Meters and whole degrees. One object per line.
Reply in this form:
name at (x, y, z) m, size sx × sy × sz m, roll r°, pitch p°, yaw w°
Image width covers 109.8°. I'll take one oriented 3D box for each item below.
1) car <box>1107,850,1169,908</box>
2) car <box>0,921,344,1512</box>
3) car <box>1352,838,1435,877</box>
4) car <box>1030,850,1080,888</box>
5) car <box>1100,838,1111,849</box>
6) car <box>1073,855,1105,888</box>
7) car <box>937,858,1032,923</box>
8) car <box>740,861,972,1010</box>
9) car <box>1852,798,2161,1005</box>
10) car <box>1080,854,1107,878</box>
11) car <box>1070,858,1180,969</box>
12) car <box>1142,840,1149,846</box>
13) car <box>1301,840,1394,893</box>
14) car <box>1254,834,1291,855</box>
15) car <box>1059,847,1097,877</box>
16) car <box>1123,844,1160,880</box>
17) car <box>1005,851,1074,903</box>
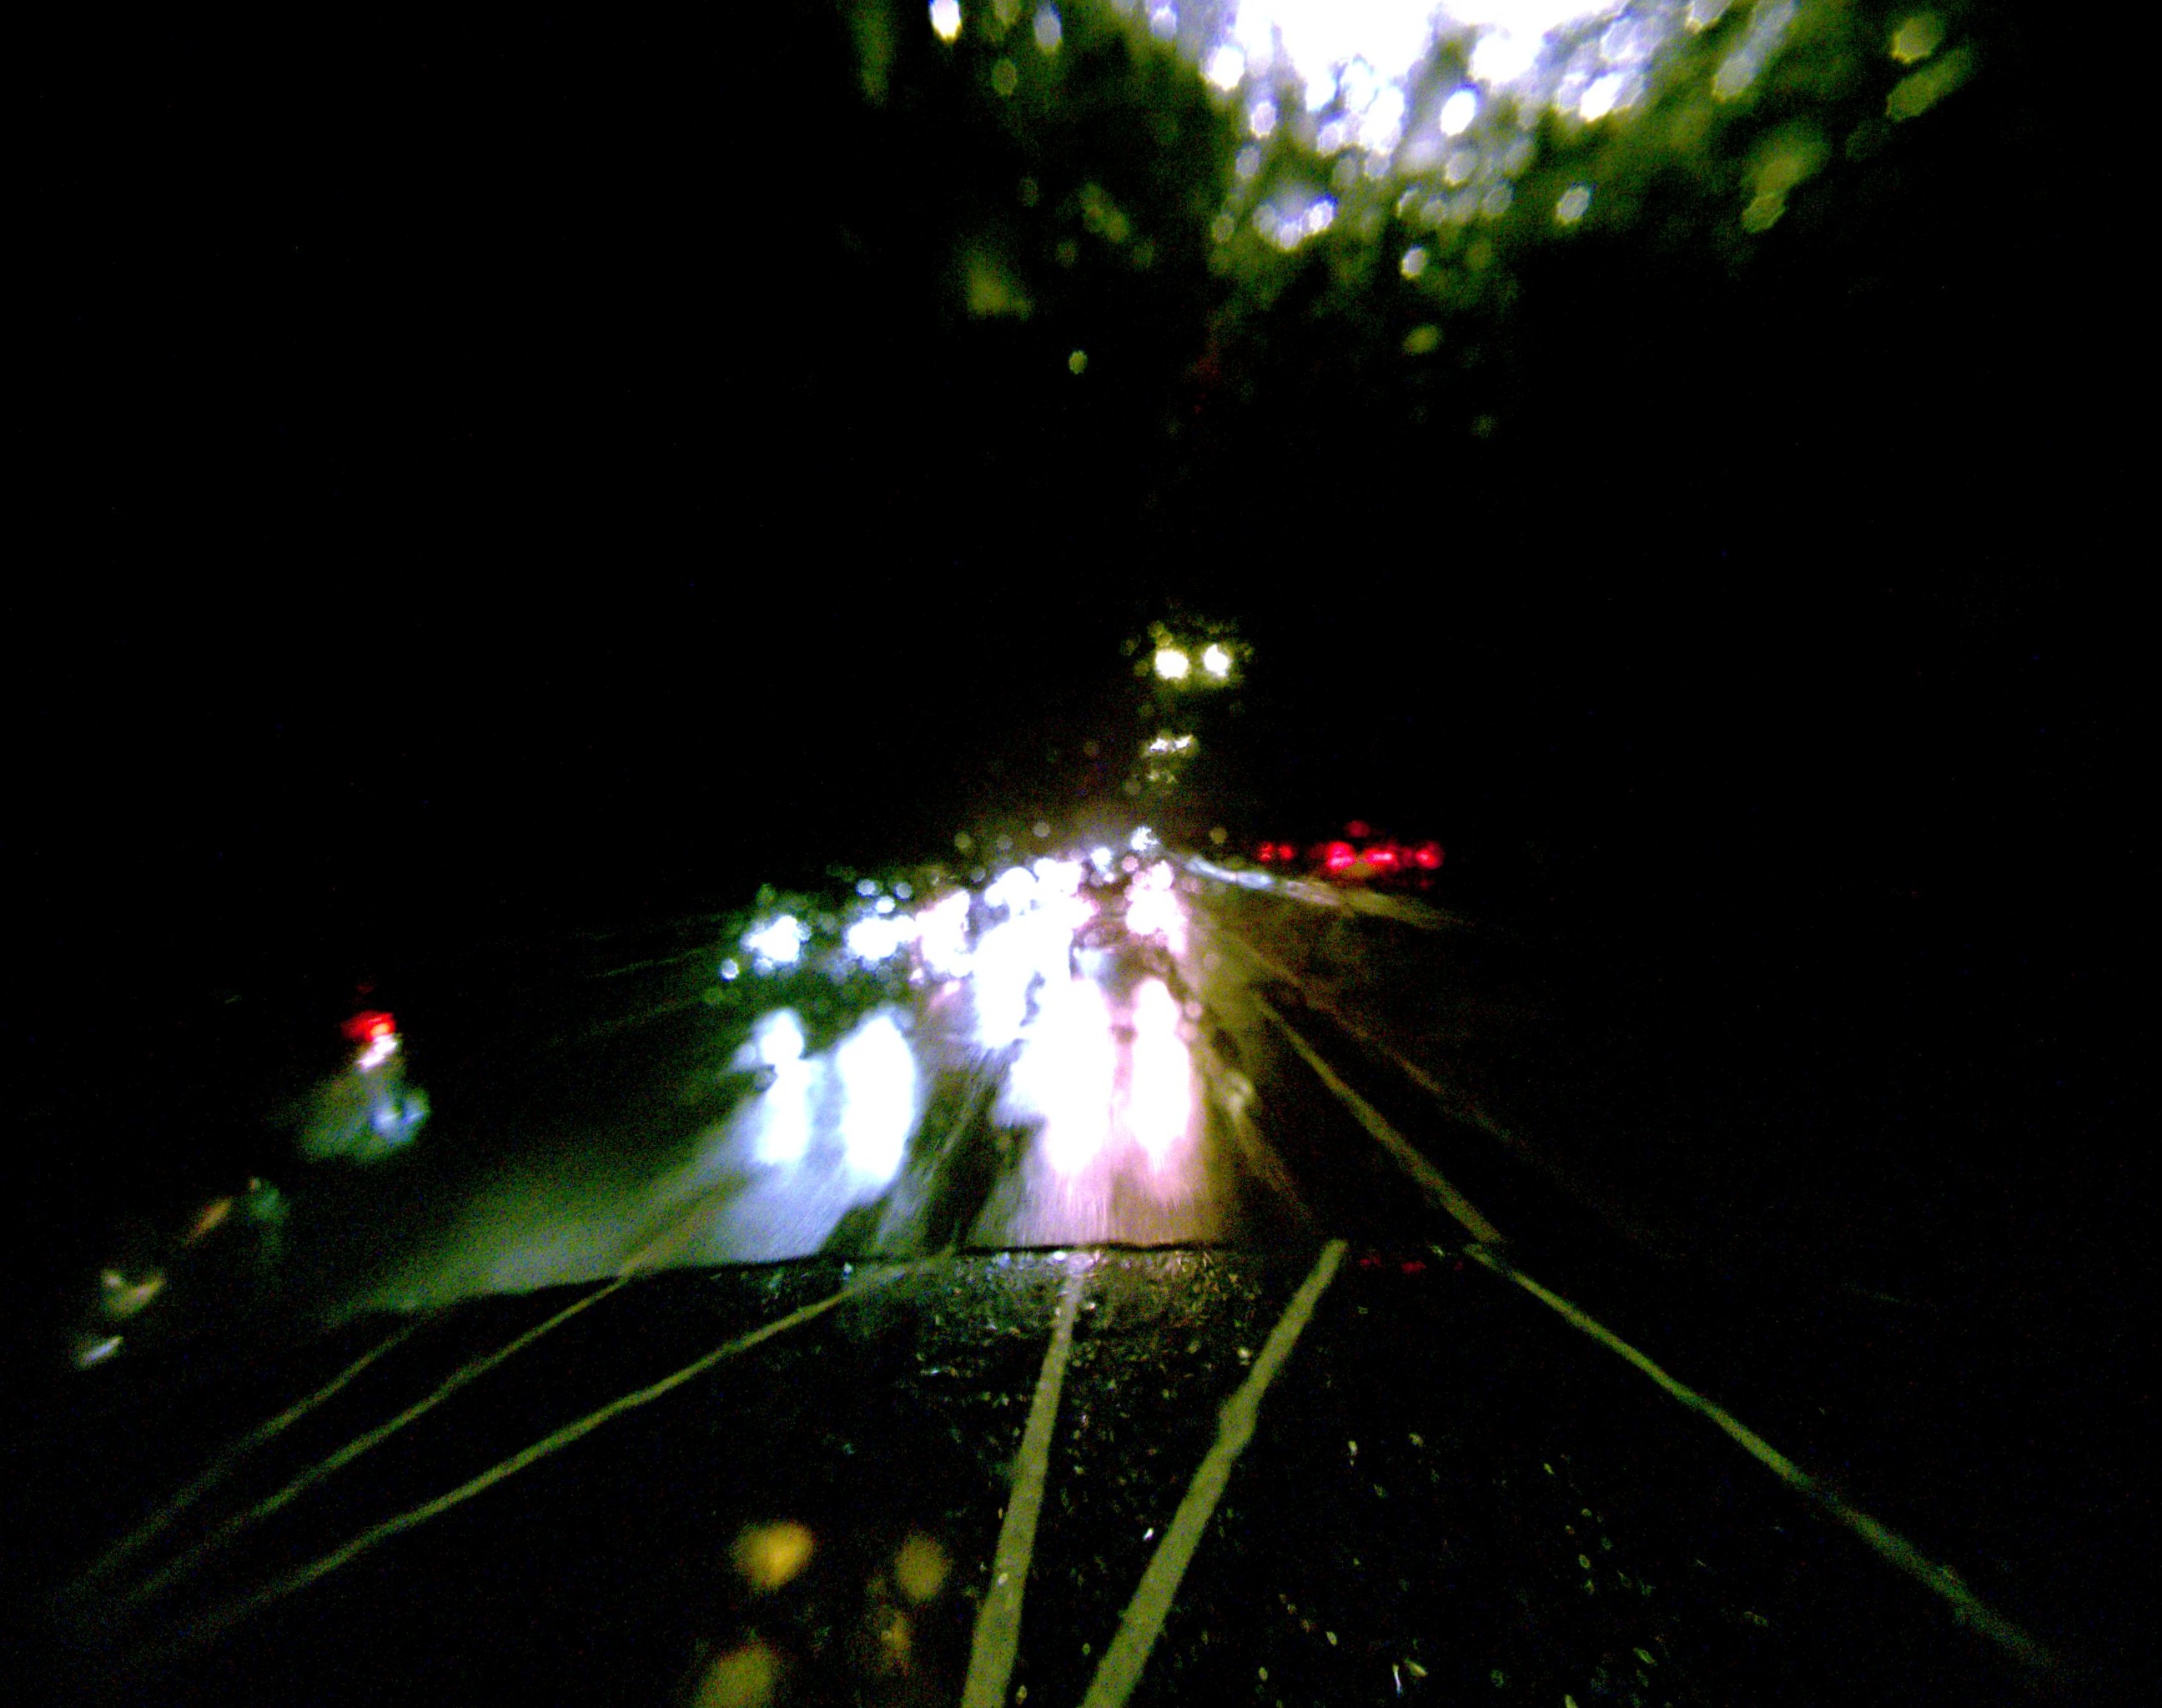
car at (1.642, 0.682, 22.474) m, size 1.605 × 1.417 × 3.389 m, roll -5°, pitch 1°, yaw 3°
car at (-3.861, 1.117, 0.685) m, size 1.677 × 1.498 × 4.559 m, roll -4°, pitch 1°, yaw 3°
car at (12.919, 0.083, 31.737) m, size 1.715 × 1.415 × 4.667 m, roll -2°, pitch 1°, yaw 3°
car at (-1.170, 0.663, 36.087) m, size 1.998 × 1.589 × 4.392 m, roll -2°, pitch 1°, yaw 3°
car at (4.714, -1.960, 143.863) m, size 1.998 × 2.002 × 4.000 m, roll -2°, pitch 1°, yaw 2°
car at (0.630, 1.191, 53.501) m, size 1.998 × 2.002 × 4.000 m, roll -3°, pitch 1°, yaw 3°
car at (-2.514, 0.911, 20.833) m, size 1.742 × 1.409 × 4.140 m, roll -3°, pitch 1°, yaw 4°
car at (-2.913, 0.968, 10.963) m, size 1.711 × 1.513 × 4.414 m, roll -3°, pitch 1°, yaw 4°
car at (9.484, 0.351, 6.292) m, size 1.770 × 1.622 × 4.247 m, roll -2°, pitch 3°, yaw -2°
car at (1.027, 0.923, 61.390) m, size 1.998 × 1.789 × 4.000 m, roll -2°, pitch 1°, yaw 3°
car at (0.713, 0.841, 12.349) m, size 1.496 × 1.416 × 3.389 m, roll -2°, pitch 1°, yaw 3°
car at (19.229, -3.316, 225.536) m, size 1.998 × 1.669 × 4.001 m, roll -3°, pitch 1°, yaw 6°
car at (9.073, 0.372, 26.268) m, size 1.874 × 1.598 × 4.248 m, roll -2°, pitch 1°, yaw 3°
car at (14.935, -0.774, 59.472) m, size 1.998 × 1.500 × 4.839 m, roll -2°, pitch 1°, yaw 4°
car at (-0.135, 0.416, 44.896) m, size 1.998 × 1.589 × 4.392 m, roll -2°, pitch 1°, yaw 3°
car at (3.772, 0.461, 47.847) m, size 1.998 × 2.002 × 3.999 m, roll -3°, pitch 1°, yaw 1°
car at (-1.408, 0.757, 27.519) m, size 1.998 × 1.589 × 4.392 m, roll -2°, pitch 1°, yaw 3°
